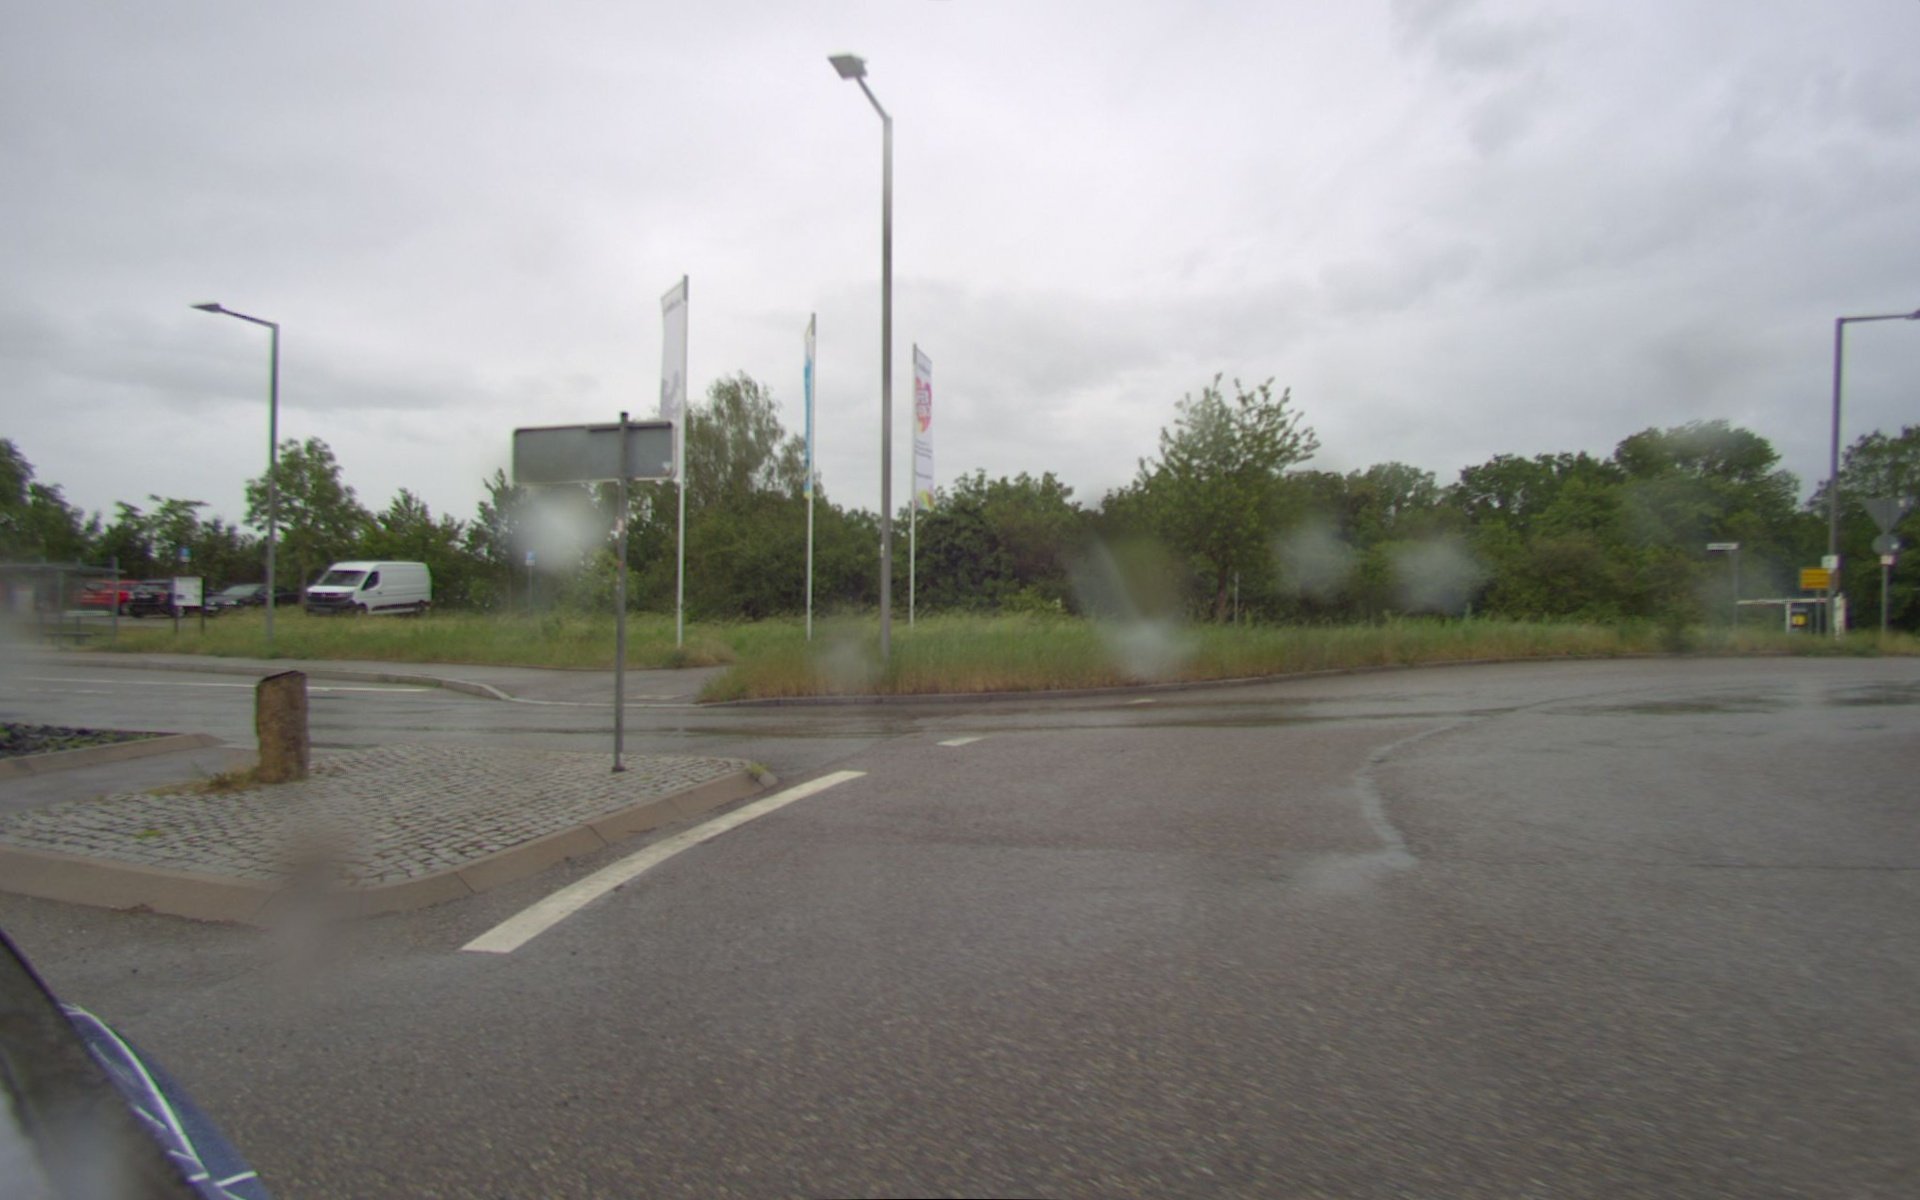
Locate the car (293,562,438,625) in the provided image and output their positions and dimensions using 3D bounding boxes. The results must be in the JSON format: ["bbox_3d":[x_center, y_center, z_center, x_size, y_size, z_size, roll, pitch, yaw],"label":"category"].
[{"bbox_3d":[-25.036,-0.312,42.996,2.110,2.415,6.573,2,1,2],"label":"car"}]

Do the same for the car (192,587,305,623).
[{"bbox_3d":[-29.851,0.169,42.626,1.633,1.374,3.991,0,1,8],"label":"car"}]

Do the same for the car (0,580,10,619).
[{"bbox_3d":[-43.742,-0.056,43.044,1.980,1.706,4.713,0,-1,6],"label":"car"}]

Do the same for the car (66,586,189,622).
[{"bbox_3d":[-35.772,0.172,43.628,1.825,1.480,3.992,0,0,6],"label":"car"}]

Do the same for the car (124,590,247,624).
[{"bbox_3d":[-32.508,0.290,42.614,1.826,1.374,3.990,0,0,8],"label":"car"}]

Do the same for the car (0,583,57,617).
[{"bbox_3d":[-41.339,-0.002,43.145,1.878,1.374,3.991,0,2,8],"label":"car"}]
